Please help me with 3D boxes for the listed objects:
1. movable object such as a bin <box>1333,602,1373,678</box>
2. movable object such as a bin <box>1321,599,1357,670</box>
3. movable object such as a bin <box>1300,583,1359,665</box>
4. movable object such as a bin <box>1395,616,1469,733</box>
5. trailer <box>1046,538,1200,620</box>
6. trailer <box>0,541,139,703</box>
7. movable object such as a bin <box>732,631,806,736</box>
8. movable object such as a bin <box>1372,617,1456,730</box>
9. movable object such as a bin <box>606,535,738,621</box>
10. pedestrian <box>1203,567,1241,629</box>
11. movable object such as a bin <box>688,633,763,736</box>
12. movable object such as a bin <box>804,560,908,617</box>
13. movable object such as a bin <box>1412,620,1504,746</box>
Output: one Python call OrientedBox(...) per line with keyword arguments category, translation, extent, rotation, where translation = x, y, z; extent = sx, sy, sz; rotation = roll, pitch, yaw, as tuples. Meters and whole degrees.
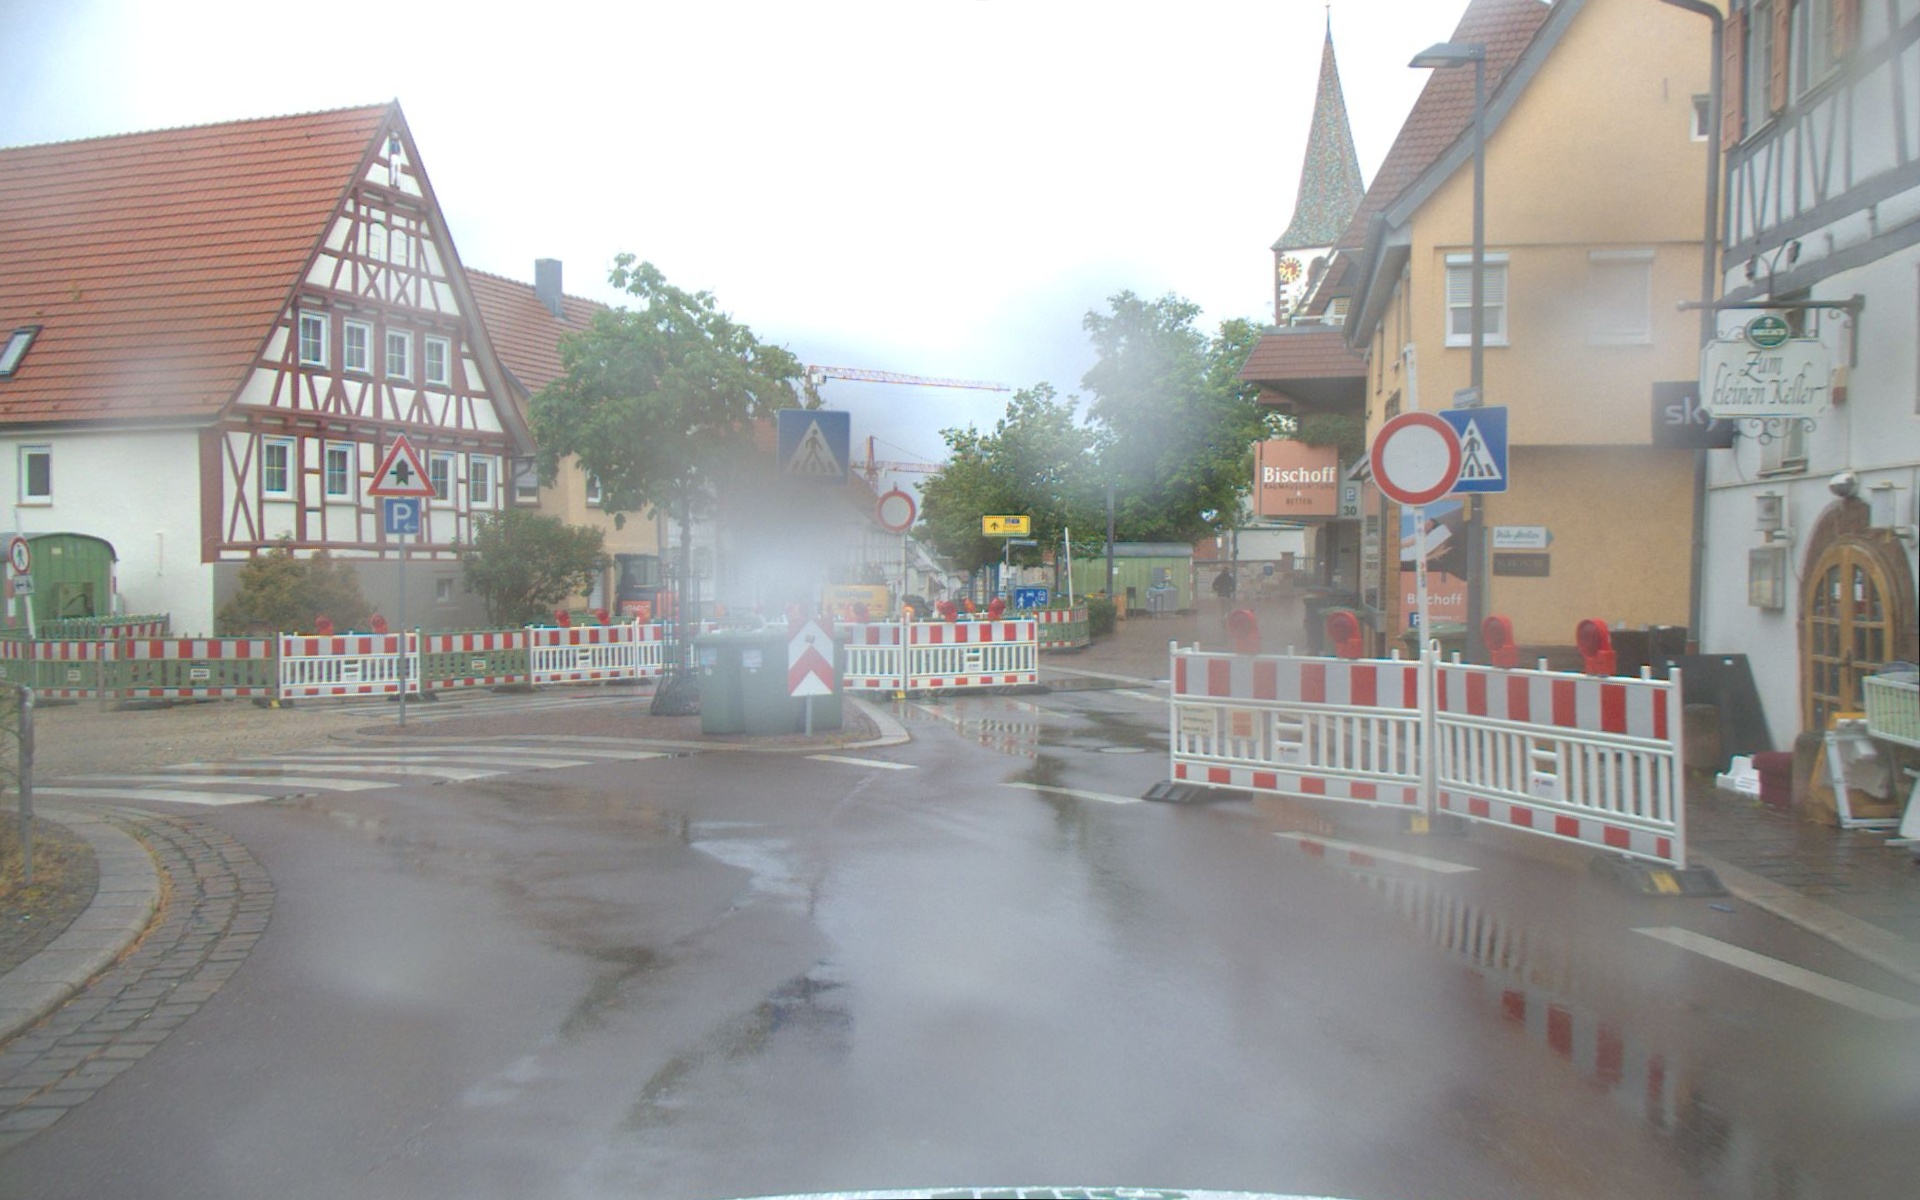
OrientedBox(category="movable object such as a bin", translation=(6.141, 0.620, 25.880), extent=(0.506, 1.151, 0.580), rotation=(-3, 1, 8))
OrientedBox(category="movable object such as a bin", translation=(6.348, 0.573, 27.725), extent=(0.505, 1.148, 0.580), rotation=(-3, 1, 8))
OrientedBox(category="movable object such as a bin", translation=(7.278, 0.467, 32.613), extent=(1.042, 1.539, 1.243), rotation=(-3, 0, 12))
OrientedBox(category="movable object such as a bin", translation=(4.515, 0.706, 15.809), extent=(0.603, 1.084, 0.540), rotation=(-1, -1, 21))
OrientedBox(category="trailer", translation=(6.204, -0.798, 63.419), extent=(5.663, 2.999, 2.000), rotation=(1, 0, 0))
OrientedBox(category="trailer", translation=(-18.388, 0.357, 31.501), extent=(4.522, 2.886, 2.492), rotation=(1, 0, 21))
OrientedBox(category="movable object such as a bin", translation=(-1.951, 0.848, 16.901), extent=(0.534, 1.051, 0.532), rotation=(-2, -2, 38))
OrientedBox(category="movable object such as a bin", translation=(4.523, 0.725, 16.491), extent=(0.665, 1.084, 0.586), rotation=(-1, 1, -1))
OrientedBox(category="movable object such as a bin", translation=(-7.295, -0.534, 42.285), extent=(1.864, 2.049, 4.003), rotation=(-2, -1, 13))
OrientedBox(category="pedestrian", translation=(7.722, -0.059, 48.765), extent=(0.970, 1.789, 0.851), rotation=(1, 0, -1))
OrientedBox(category="movable object such as a bin", translation=(-2.451, 0.873, 17.294), extent=(0.531, 1.055, 0.569), rotation=(-2, -2, 38))
OrientedBox(category="movable object such as a bin", translation=(-3.889, -0.413, 62.635), extent=(3.330, 2.049, 3.481), rotation=(1, 0, 6))
OrientedBox(category="movable object such as a bin", translation=(4.538, 0.747, 15.086), extent=(0.665, 1.084, 0.540), rotation=(-1, 2, -2))
